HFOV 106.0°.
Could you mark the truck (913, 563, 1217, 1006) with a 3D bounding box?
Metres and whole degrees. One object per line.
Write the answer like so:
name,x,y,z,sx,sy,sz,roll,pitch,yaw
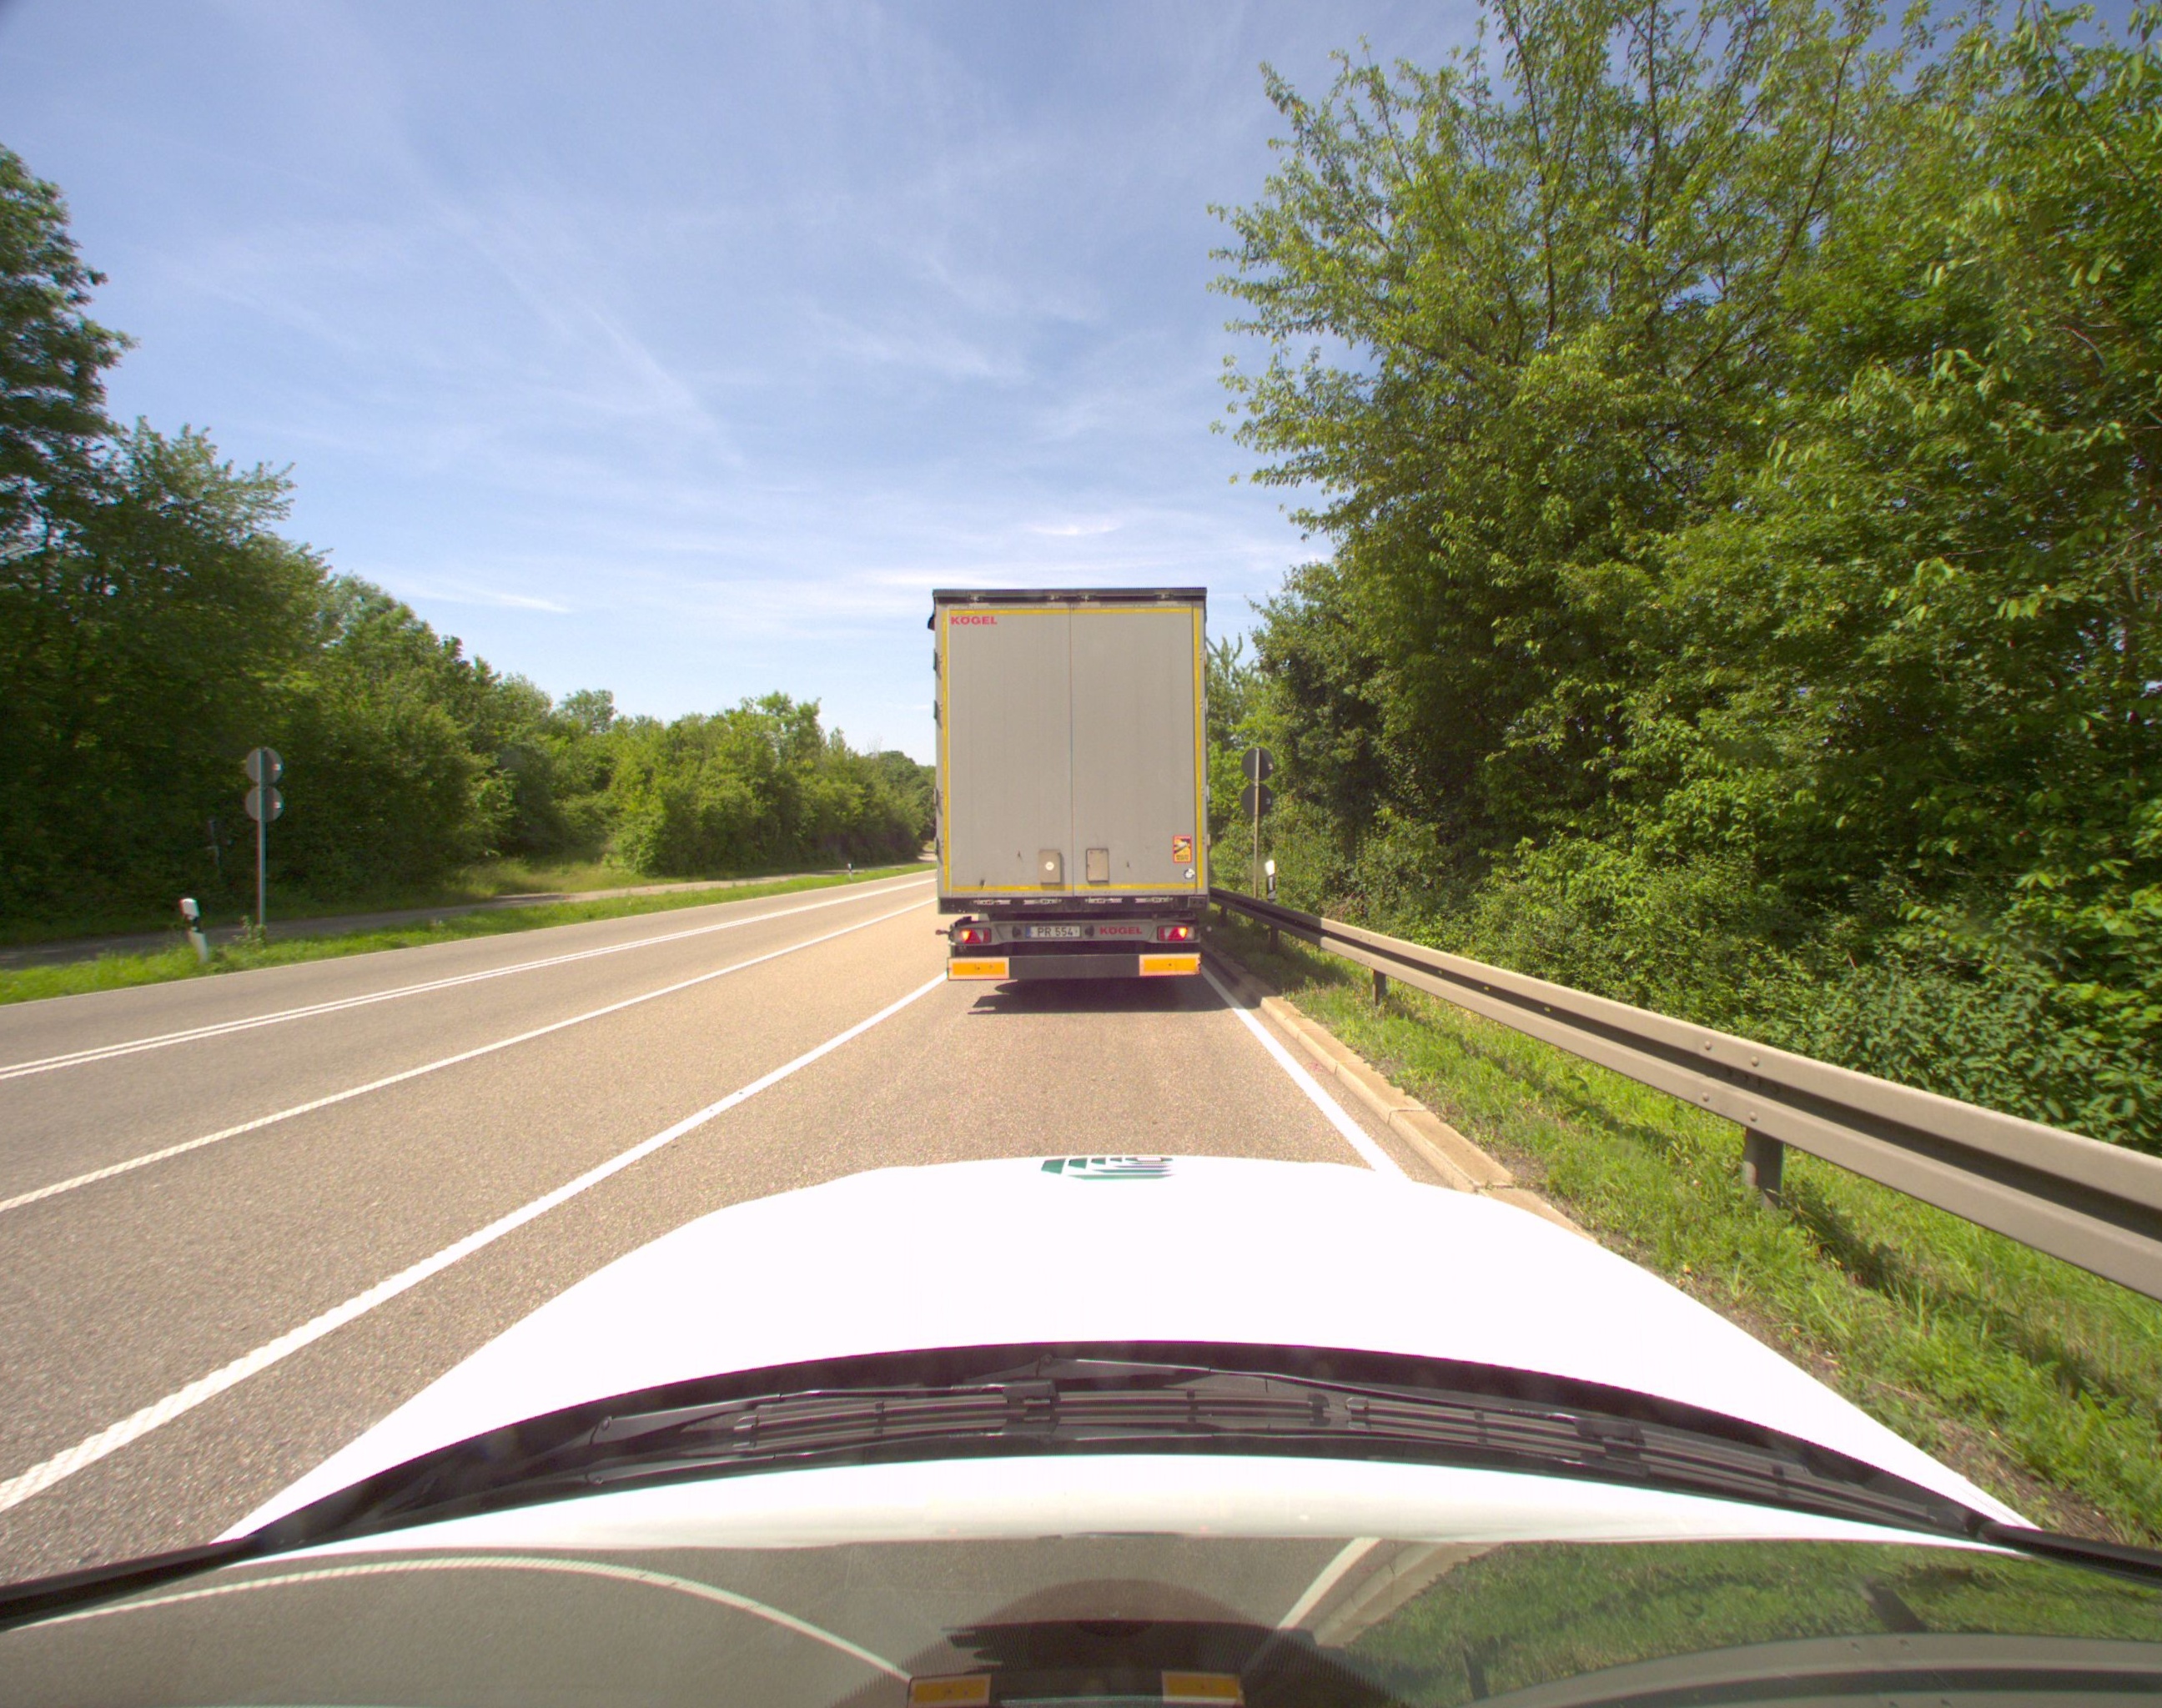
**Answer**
truck,-0.028,-0.650,13.421,2.747,4.029,11.926,-1,0,1
